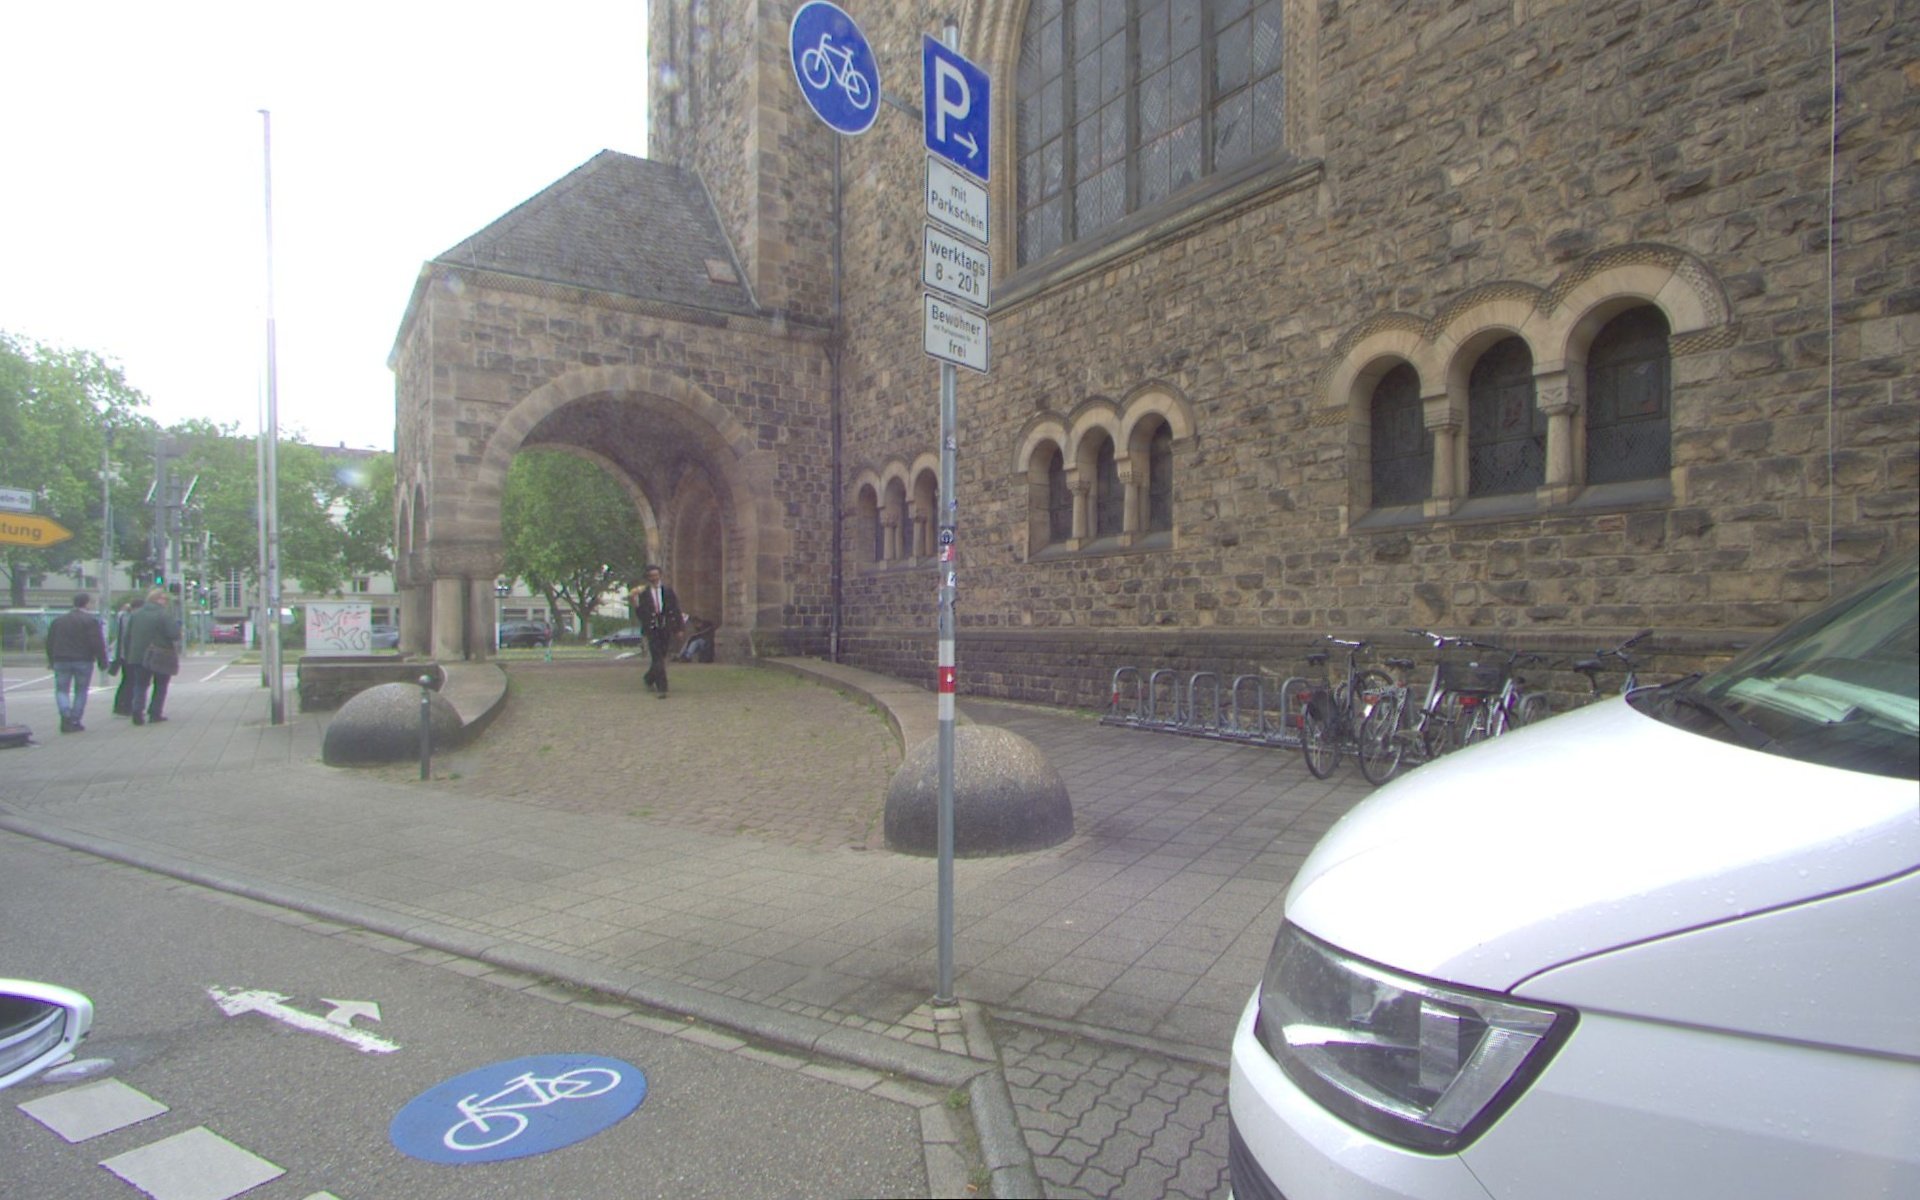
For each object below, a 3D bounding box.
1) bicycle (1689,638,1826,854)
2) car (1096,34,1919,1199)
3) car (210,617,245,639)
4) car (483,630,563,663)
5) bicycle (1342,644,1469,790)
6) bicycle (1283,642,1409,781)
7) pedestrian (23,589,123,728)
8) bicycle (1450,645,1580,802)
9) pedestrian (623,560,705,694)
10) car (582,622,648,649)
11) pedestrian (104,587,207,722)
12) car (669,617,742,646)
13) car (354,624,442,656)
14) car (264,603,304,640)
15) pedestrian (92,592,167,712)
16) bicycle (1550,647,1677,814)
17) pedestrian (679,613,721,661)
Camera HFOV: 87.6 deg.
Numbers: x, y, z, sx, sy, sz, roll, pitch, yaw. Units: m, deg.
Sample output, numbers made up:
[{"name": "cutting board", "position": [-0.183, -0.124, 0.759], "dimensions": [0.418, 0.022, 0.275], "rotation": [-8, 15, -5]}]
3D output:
[{"name": "bicycle", "position": [4.787, 0.819, 5.988], "dimensions": [1.327, 1.161, 0.309], "rotation": [1, -1, -36]}, {"name": "car", "position": [2.809, 0.459, 0.785], "dimensions": [5.088, 1.945, 1.802], "rotation": [-1, -1, 31]}, {"name": "car", "position": [-51.580, 1.967, 70.591], "dimensions": [1.647, 1.535, 3.916], "rotation": [1, -1, -31]}, {"name": "car", "position": [-24.708, 2.602, 56.629], "dimensions": [3.899, 1.733, 1.676], "rotation": [1, -1, -35]}, {"name": "bicycle", "position": [3.611, 0.907, 8.078], "dimensions": [1.366, 1.073, 0.309], "rotation": [1, -1, -36]}, {"name": "bicycle", "position": [3.267, 0.902, 8.426], "dimensions": [1.366, 1.073, 0.309], "rotation": [1, -1, -36]}, {"name": "pedestrian", "position": [-11.340, 0.720, 12.802], "dimensions": [0.955, 1.708, 0.673], "rotation": [0, 2, 32]}, {"name": "bicycle", "position": [4.182, 0.885, 7.514], "dimensions": [1.366, 1.073, 0.309], "rotation": [1, -1, -36]}, {"name": "pedestrian", "position": [-4.254, 0.361, 14.357], "dimensions": [0.806, 1.833, 1.012], "rotation": [0, 3, -37]}, {"name": "car", "position": [-20.439, 2.086, 59.385], "dimensions": [3.423, 1.581, 1.676], "rotation": [1, -1, -35]}, {"name": "pedestrian", "position": [-11.073, 0.721, 13.788], "dimensions": [0.955, 1.782, 0.802], "rotation": [0, 2, 32]}, {"name": "car", "position": [-19.044, 2.352, 75.018], "dimensions": [5.023, 2.123, 1.979], "rotation": [1, -1, -35]}, {"name": "car", "position": [-29.716, 2.094, 53.003], "dimensions": [3.939, 1.581, 1.676], "rotation": [1, -1, -35]}, {"name": "car", "position": [-50.546, 1.599, 74.986], "dimensions": [2.211, 2.673, 5.417], "rotation": [1, -1, -31]}, {"name": "pedestrian", "position": [-12.282, 0.746, 14.811], "dimensions": [0.957, 1.696, 0.630], "rotation": [0, 2, 39]}, {"name": "bicycle", "position": [4.651, 0.884, 7.103], "dimensions": [1.327, 1.073, 0.309], "rotation": [1, -1, -36]}, {"name": "pedestrian", "position": [-5.359, 0.752, 20.600], "dimensions": [0.665, 0.964, 0.611], "rotation": [0, -1, -36]}]
